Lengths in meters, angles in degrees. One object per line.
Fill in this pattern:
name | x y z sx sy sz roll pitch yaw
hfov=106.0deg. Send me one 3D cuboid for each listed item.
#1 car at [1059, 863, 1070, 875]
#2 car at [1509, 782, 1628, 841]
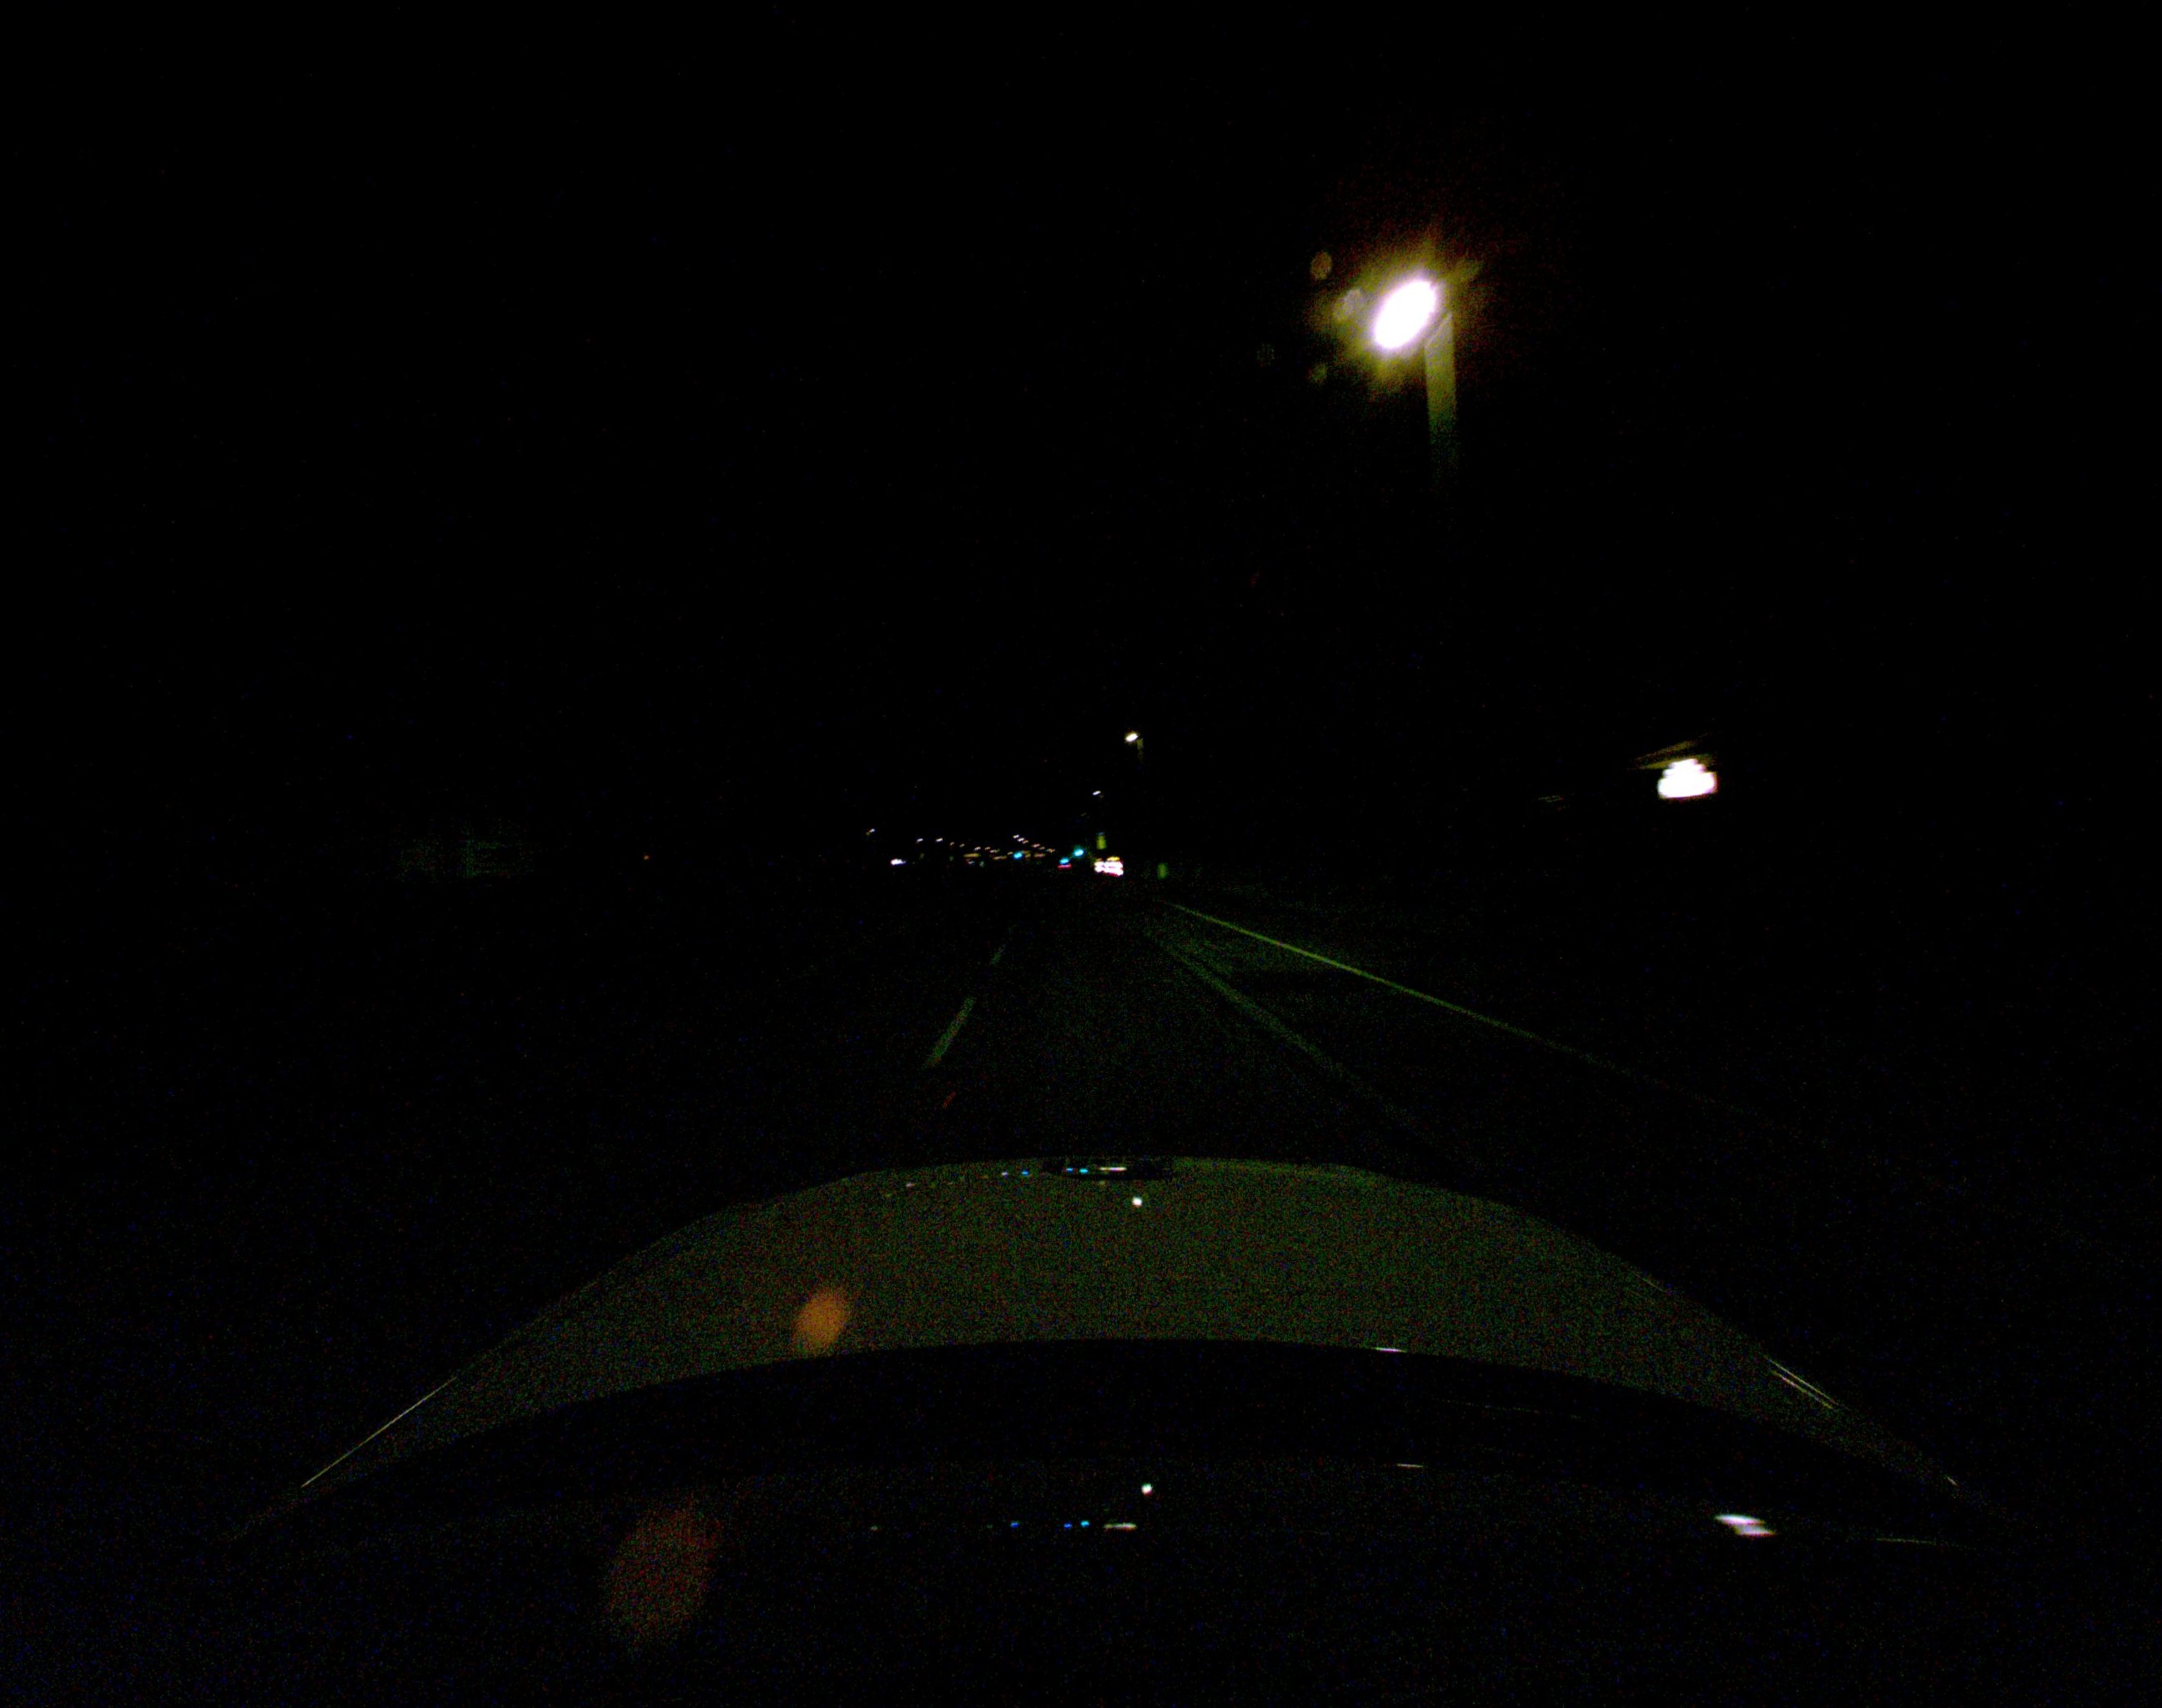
car | -3.224 2.929 160.493 2.081 2.013 3.998 -4 0 -1
car | 18.400 -1.544 30.988 1.945 1.837 4.114 -6 0 0
